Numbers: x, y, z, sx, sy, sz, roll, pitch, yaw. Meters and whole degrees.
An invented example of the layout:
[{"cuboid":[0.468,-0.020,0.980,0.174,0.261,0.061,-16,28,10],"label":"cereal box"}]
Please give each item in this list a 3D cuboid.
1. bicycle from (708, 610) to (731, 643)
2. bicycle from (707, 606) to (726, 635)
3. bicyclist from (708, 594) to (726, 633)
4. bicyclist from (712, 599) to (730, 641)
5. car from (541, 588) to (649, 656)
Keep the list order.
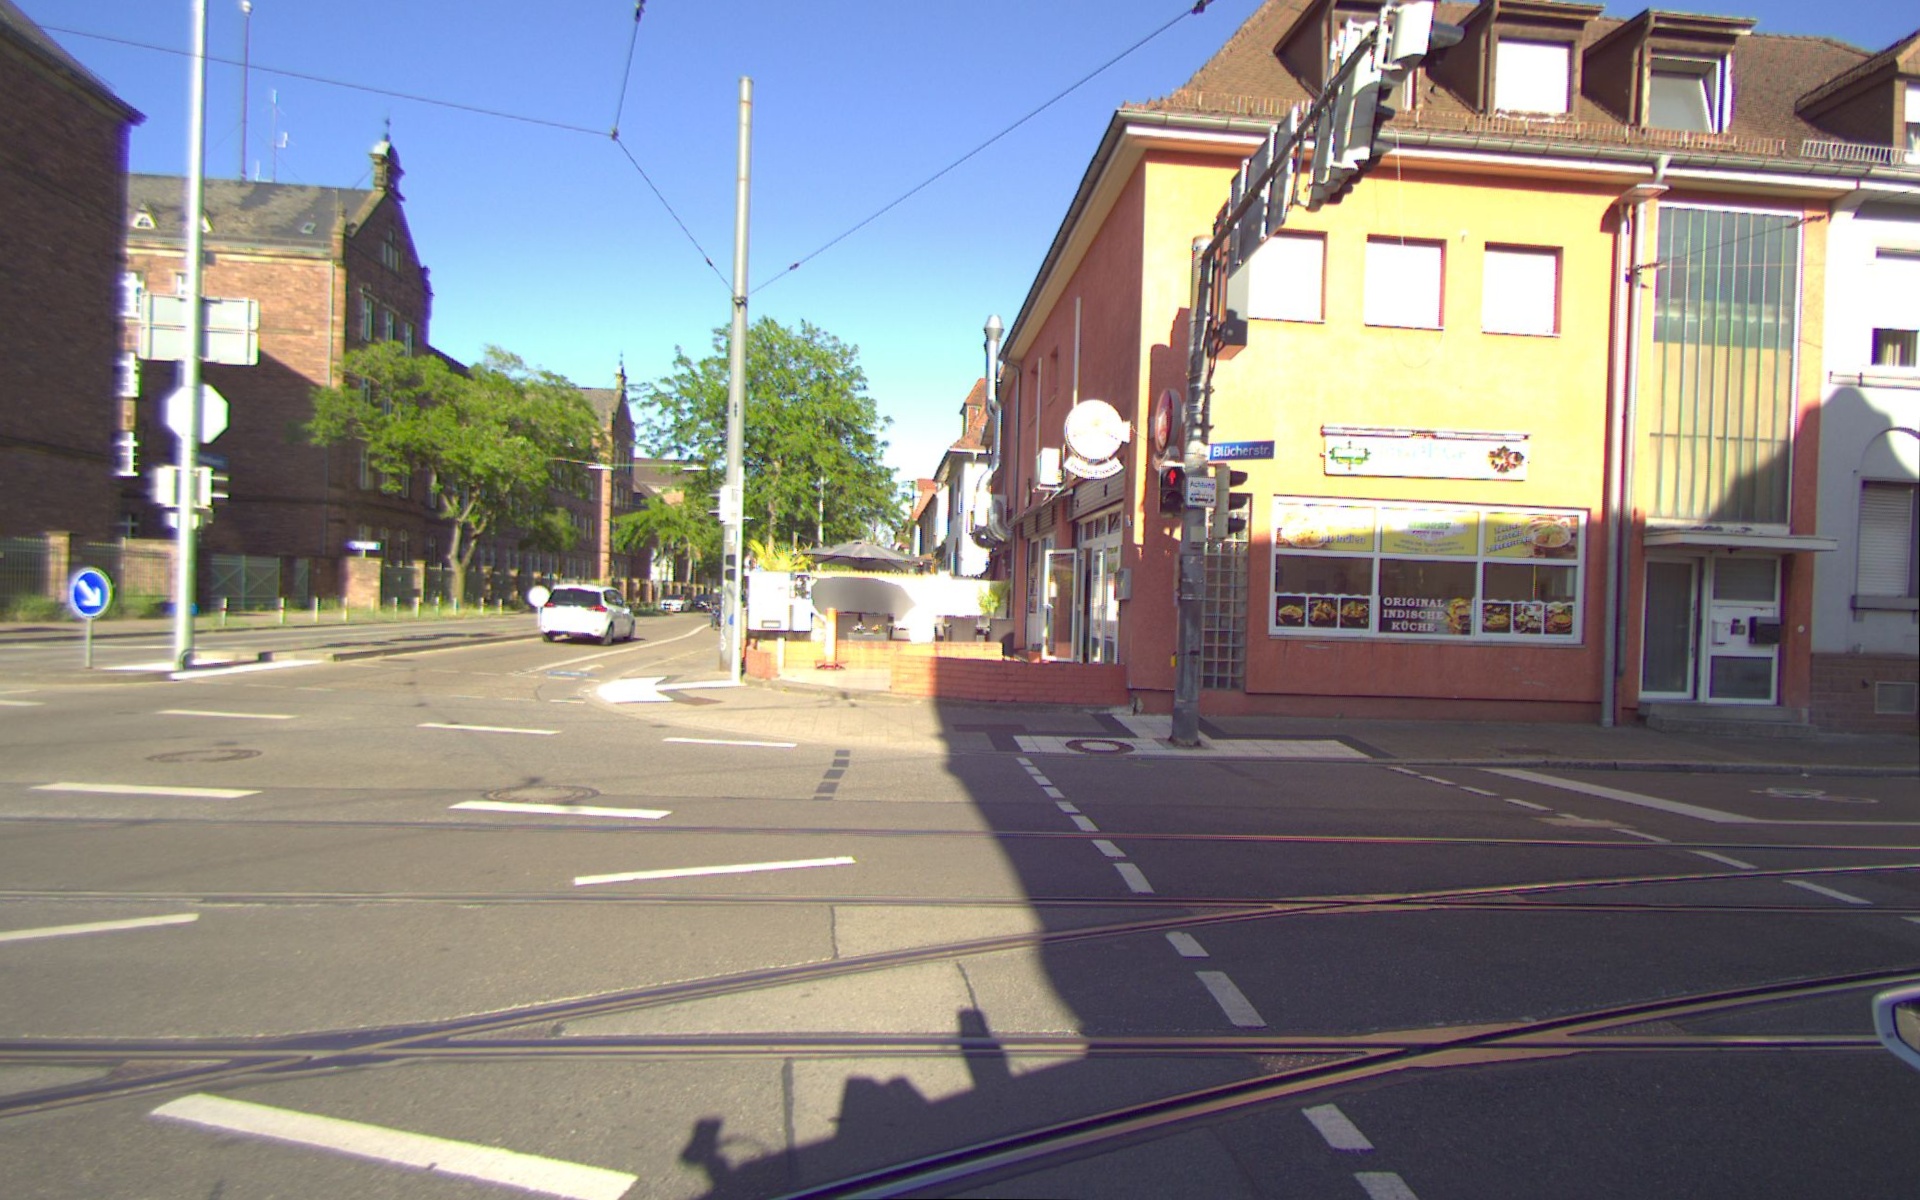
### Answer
[{"cuboid":[-9.553,1.031,39.941,0.549,1.205,1.994,2,0,-5],"label":"bicycle"},{"cuboid":[-10.651,0.909,43.998,0.463,1.204,1.994,2,-1,-5],"label":"bicycle"},{"cuboid":[-10.715,0.606,44.365,0.598,1.678,0.794,2,1,-5],"label":"bicyclist"},{"cuboid":[-9.539,0.779,40.118,0.545,1.639,0.685,2,1,-6],"label":"bicyclist"},{"cuboid":[-10.471,0.574,29.174,1.933,1.687,4.244,4,0,-7],"label":"car"}]
